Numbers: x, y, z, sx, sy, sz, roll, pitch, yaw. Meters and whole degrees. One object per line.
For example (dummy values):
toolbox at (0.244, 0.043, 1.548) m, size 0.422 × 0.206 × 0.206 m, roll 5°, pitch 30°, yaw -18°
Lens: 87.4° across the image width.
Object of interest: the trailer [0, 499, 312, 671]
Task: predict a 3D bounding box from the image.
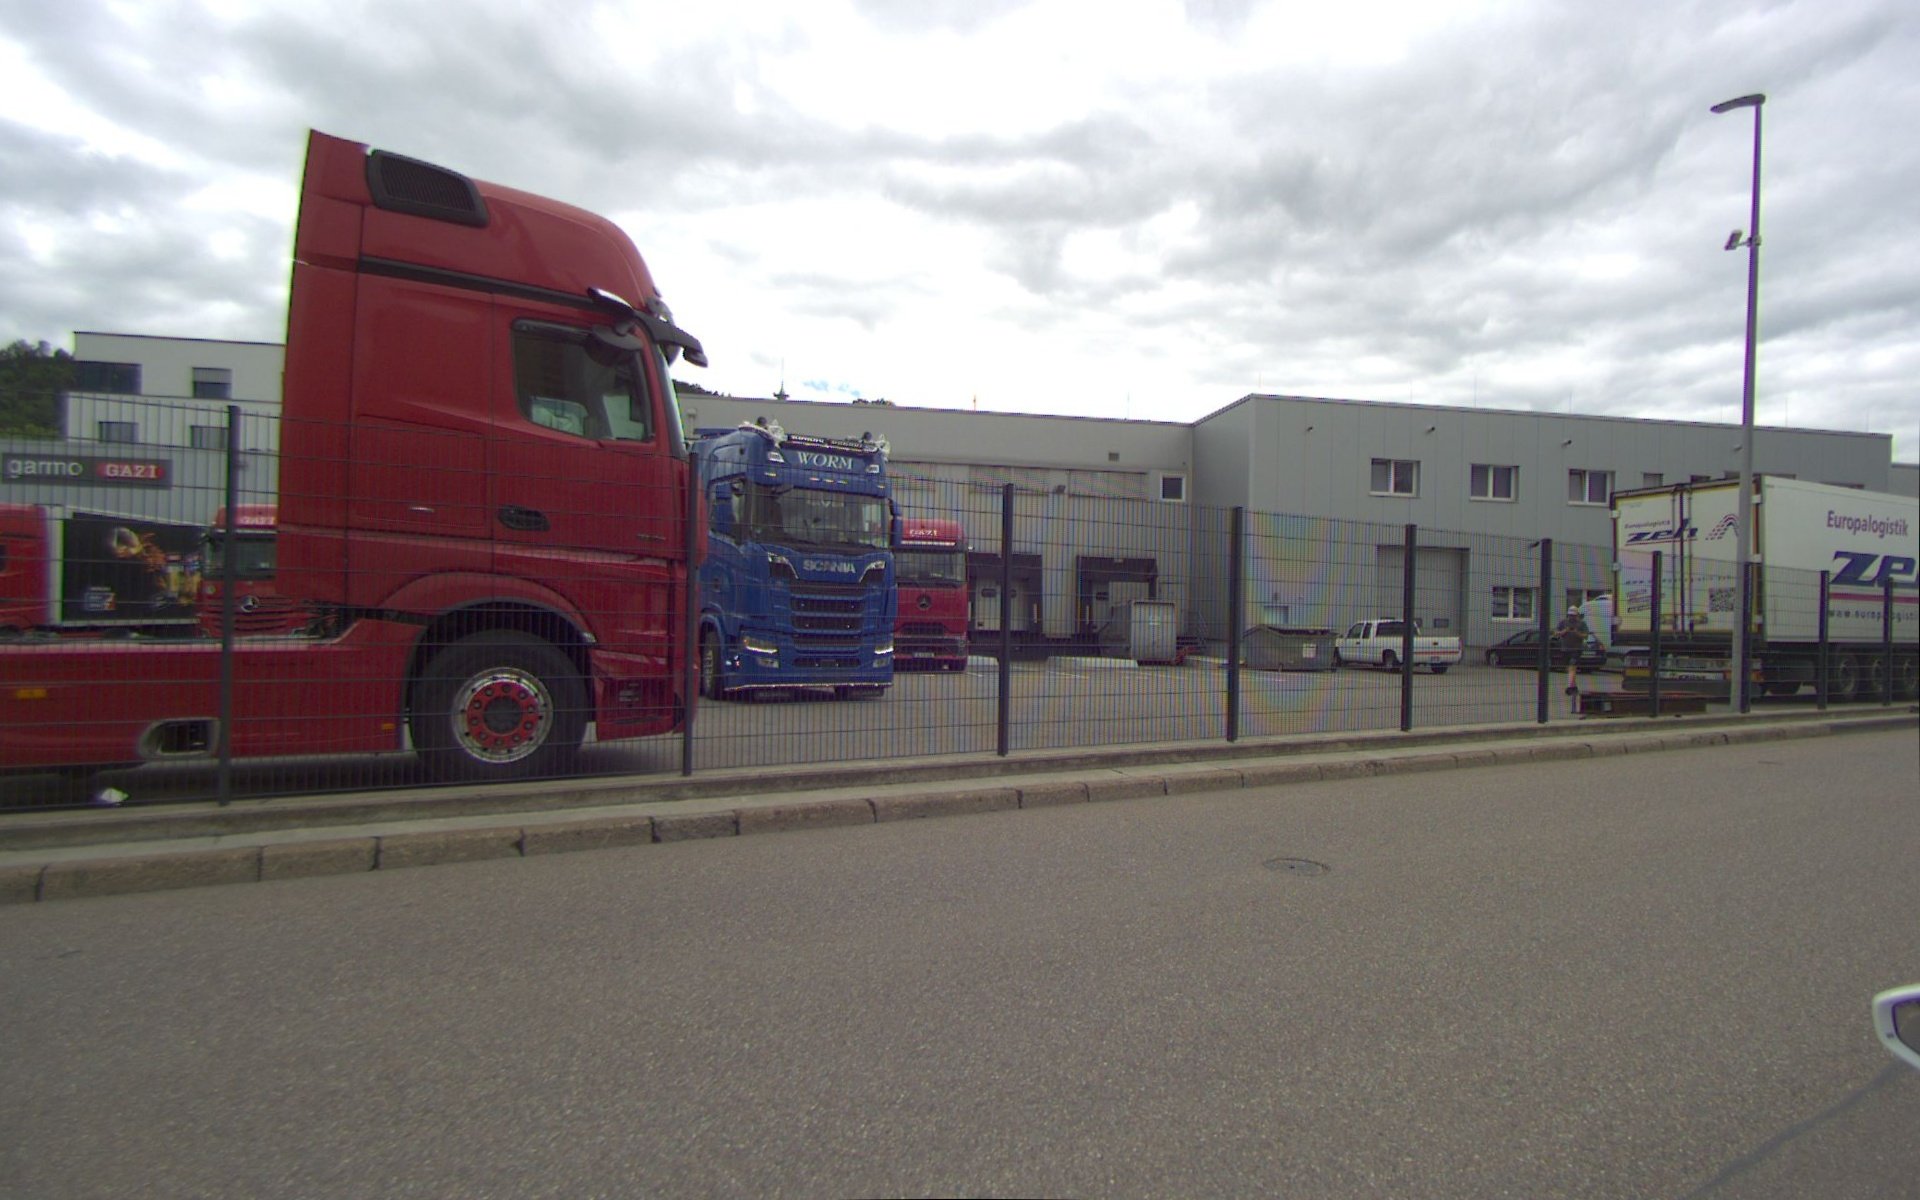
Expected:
trailer at (-23.584, -0.273, 30.072) m, size 2.742 × 4.131 × 10.978 m, roll 2°, pitch -1°, yaw -9°

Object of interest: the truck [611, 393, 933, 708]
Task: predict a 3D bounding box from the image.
truck at (-3.233, -0.601, 16.097) m, size 2.903 × 4.073 × 5.558 m, roll 2°, pitch -1°, yaw -36°

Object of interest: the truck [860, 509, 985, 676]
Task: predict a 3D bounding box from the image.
truck at (-1.188, -0.130, 27.331) m, size 2.751 × 3.980 × 5.918 m, roll 1°, pitch -1°, yaw -8°

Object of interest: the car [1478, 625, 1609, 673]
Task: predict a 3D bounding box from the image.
car at (20.845, 1.717, 36.071) m, size 1.964 × 1.572 × 3.993 m, roll 2°, pitch -1°, yaw -10°

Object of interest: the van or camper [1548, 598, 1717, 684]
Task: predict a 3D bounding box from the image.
van or camper at (23.693, 1.393, 35.675) m, size 2.067 × 2.799 × 4.978 m, roll 2°, pitch -1°, yaw -11°

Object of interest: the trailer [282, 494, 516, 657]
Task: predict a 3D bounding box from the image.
trailer at (-16.996, -0.531, 31.629) m, size 2.742 × 4.131 × 10.978 m, roll 2°, pitch -1°, yaw -9°

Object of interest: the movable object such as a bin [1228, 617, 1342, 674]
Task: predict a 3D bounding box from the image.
movable object such as a bin at (10.894, 1.497, 34.011) m, size 2.117 × 1.759 × 3.995 m, roll 2°, pitch -1°, yaw -8°

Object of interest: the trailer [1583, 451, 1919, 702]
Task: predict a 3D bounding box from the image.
trailer at (19.313, -0.060, 21.788) m, size 13.841 × 4.315 × 3.123 m, roll 2°, pitch -5°, yaw -28°

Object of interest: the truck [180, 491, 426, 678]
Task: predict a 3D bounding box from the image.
truck at (-15.845, -0.268, 24.814) m, size 2.752 × 3.980 × 5.916 m, roll 2°, pitch -1°, yaw -9°

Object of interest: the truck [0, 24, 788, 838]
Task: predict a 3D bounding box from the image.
truck at (-4.941, -0.817, 6.623) m, size 6.857 × 4.073 × 2.909 m, roll 2°, pitch -1°, yaw -29°

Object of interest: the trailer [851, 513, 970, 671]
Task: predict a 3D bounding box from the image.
trailer at (-2.019, -0.106, 33.412) m, size 2.733 × 4.162 × 13.076 m, roll 1°, pitch -1°, yaw -8°

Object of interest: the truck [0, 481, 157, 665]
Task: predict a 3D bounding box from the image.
truck at (-22.560, -0.586, 23.855) m, size 2.752 × 3.980 × 5.916 m, roll 2°, pitch -1°, yaw -9°

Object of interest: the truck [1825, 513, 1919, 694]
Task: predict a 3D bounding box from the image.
truck at (25.039, 0.211, 24.771) m, size 6.853 × 4.169 × 3.118 m, roll 2°, pitch -5°, yaw -27°

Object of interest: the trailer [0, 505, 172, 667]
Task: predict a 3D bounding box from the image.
trailer at (-27.453, -0.389, 28.568) m, size 2.742 × 4.357 × 11.164 m, roll 2°, pitch -1°, yaw -9°

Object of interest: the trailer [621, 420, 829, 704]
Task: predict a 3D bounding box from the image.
trailer at (-5.326, -0.462, 22.194) m, size 2.986 × 4.239 × 13.977 m, roll 2°, pitch -1°, yaw -15°

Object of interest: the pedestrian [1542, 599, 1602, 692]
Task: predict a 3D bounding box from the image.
pedestrian at (12.482, 0.923, 20.482) m, size 0.813 × 1.853 × 0.695 m, roll 2°, pitch -1°, yaw -25°

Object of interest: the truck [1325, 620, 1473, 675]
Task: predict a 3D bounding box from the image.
truck at (14.576, 1.531, 33.717) m, size 2.187 × 1.673 × 4.921 m, roll 2°, pitch -1°, yaw -10°
